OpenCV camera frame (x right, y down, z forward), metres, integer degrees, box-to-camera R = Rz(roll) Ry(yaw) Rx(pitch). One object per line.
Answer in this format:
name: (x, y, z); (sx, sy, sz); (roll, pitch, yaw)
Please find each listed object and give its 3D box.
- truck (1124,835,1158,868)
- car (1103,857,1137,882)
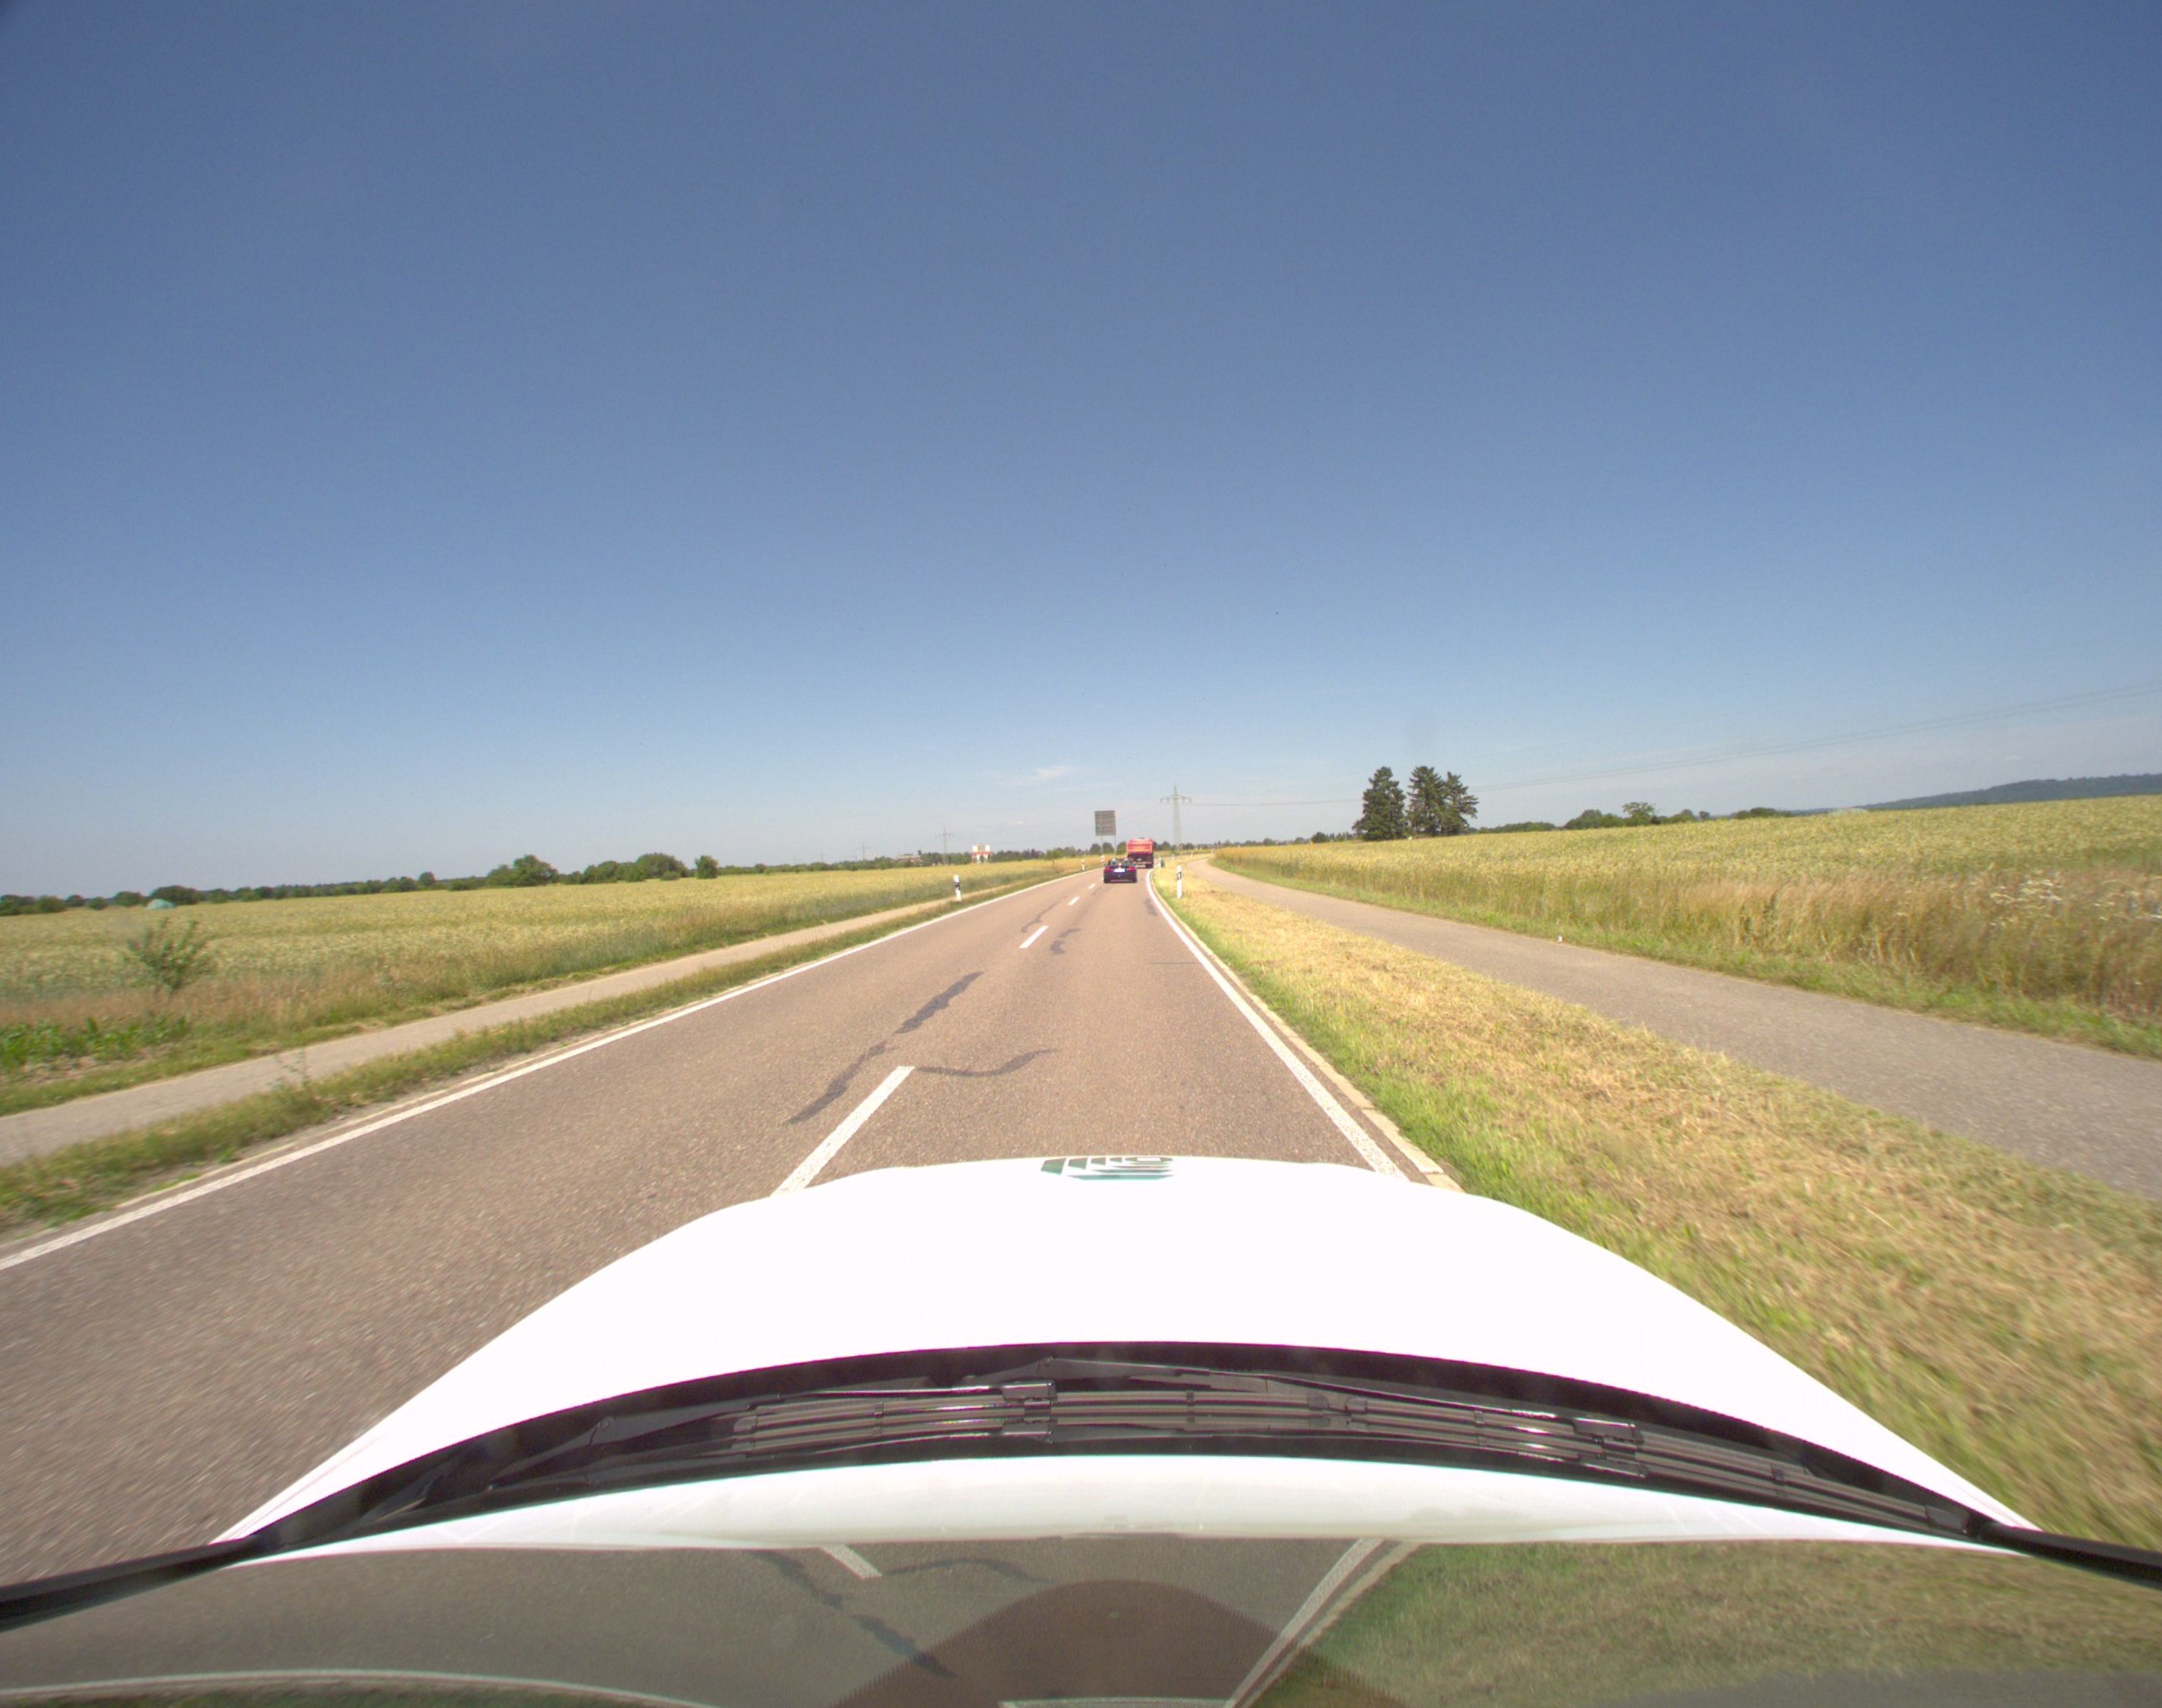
truck: (6.140, -0.225, 82.295); (2.922, 3.089, 7.211); (-2, -1, 8)
car: (2.177, 0.829, 44.236); (1.736, 1.280, 4.004); (-1, -1, 4)
